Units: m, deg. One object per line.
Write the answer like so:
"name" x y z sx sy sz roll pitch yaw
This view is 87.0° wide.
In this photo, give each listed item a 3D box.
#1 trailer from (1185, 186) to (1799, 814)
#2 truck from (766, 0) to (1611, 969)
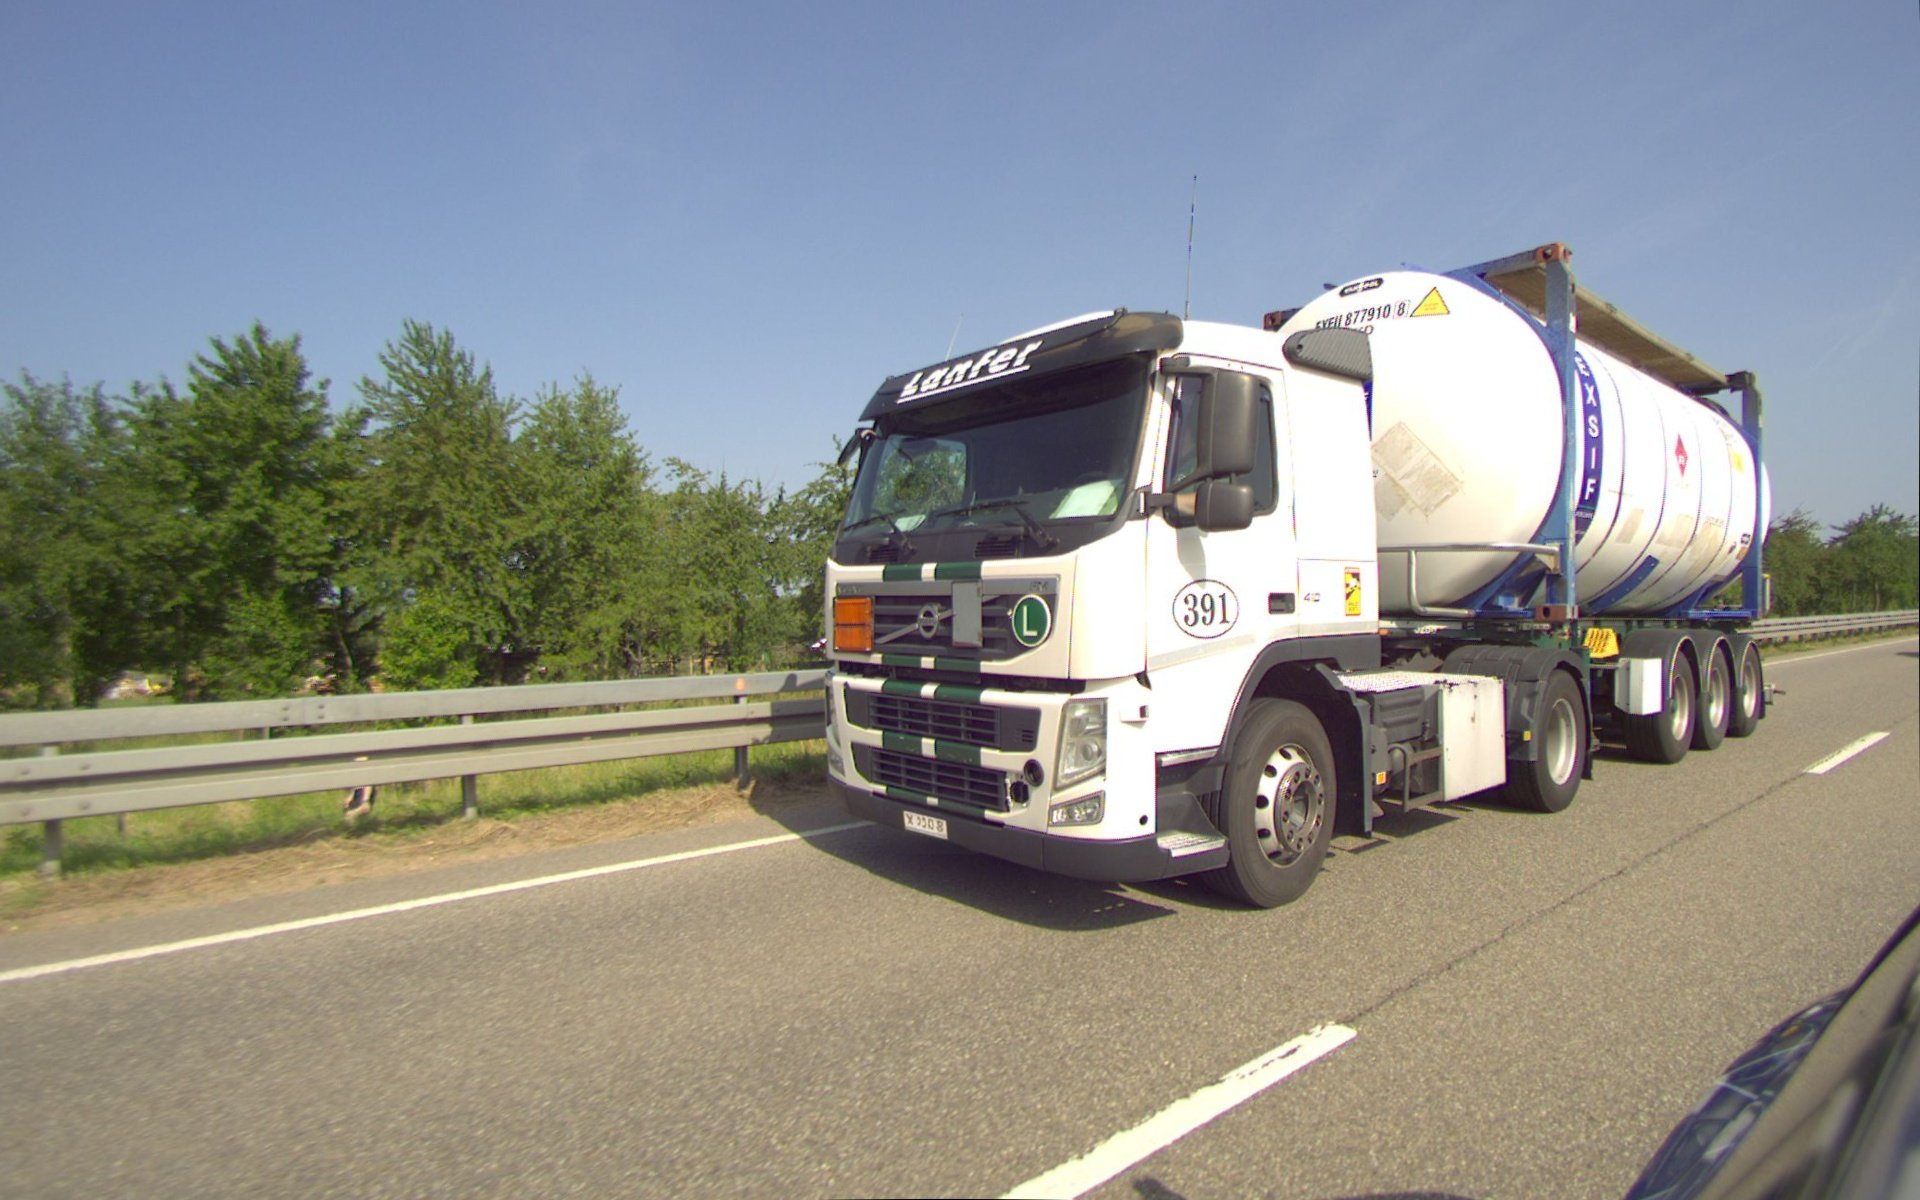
"trailer" 5.845 -0.662 10.207 8.043 4.042 2.761 0 0 -41
"truck" 1.836 -0.626 6.734 5.529 4.011 2.777 0 0 -41
